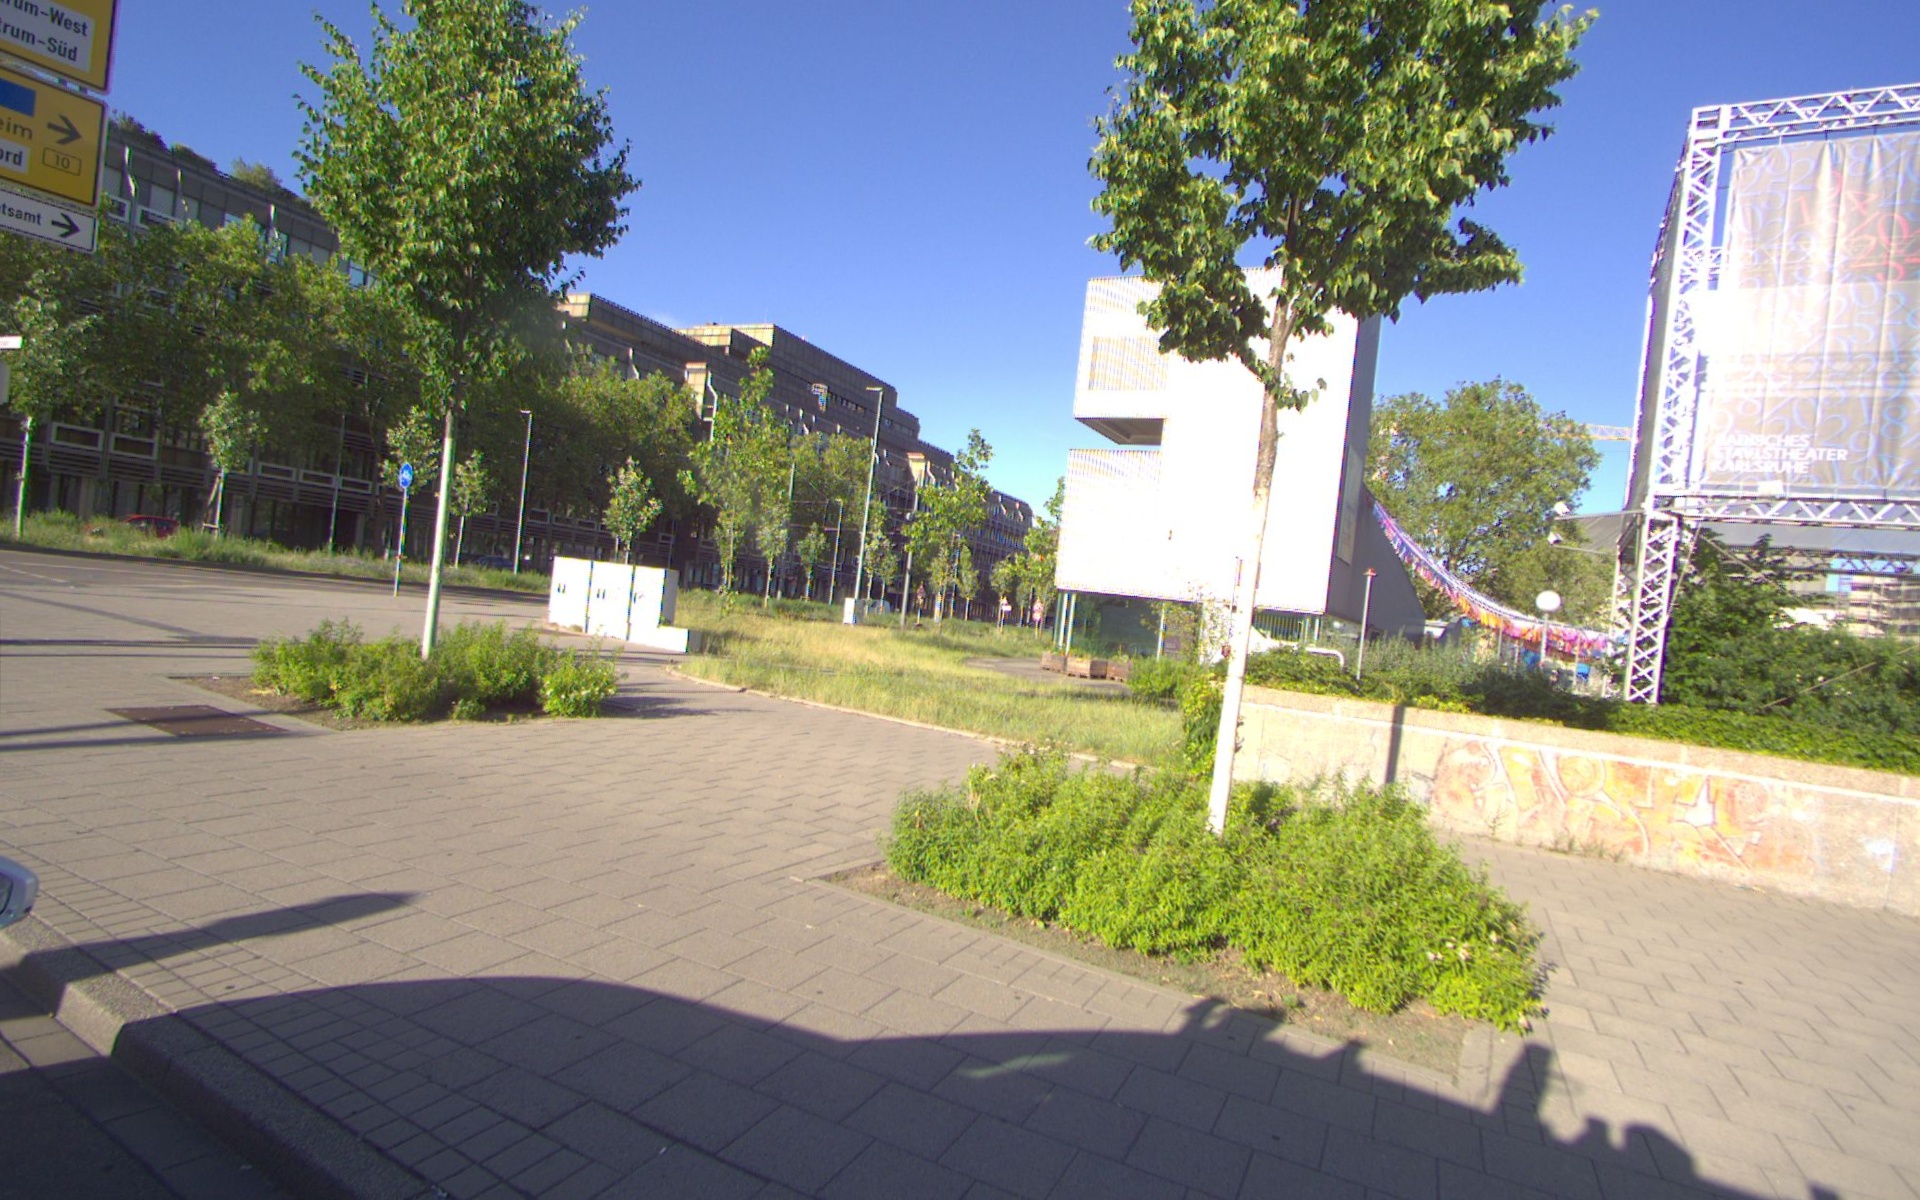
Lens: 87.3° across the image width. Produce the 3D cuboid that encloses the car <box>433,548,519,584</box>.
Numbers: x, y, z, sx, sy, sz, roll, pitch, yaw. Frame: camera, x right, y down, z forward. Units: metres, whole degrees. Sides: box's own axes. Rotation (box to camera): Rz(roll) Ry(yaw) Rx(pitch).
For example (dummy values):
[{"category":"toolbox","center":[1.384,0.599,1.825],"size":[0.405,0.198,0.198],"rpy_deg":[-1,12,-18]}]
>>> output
[{"category":"car","center":[-31.784,-2.224,66.166],"size":[1.964,1.700,4.868],"rpy_deg":[8,-1,23]}]

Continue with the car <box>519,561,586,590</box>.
[{"category":"car","center":[-29.003,-1.722,71.673],"size":[1.966,1.539,3.995],"rpy_deg":[7,0,29]}]

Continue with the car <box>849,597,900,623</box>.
[{"category":"car","center":[-8.254,0.977,97.524],"size":[2.226,2.038,5.705],"rpy_deg":[4,-2,25]}]

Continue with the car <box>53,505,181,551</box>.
[{"category":"car","center":[-37.205,-3.167,44.504],"size":[1.814,1.504,3.877],"rpy_deg":[3,-2,25]}]
